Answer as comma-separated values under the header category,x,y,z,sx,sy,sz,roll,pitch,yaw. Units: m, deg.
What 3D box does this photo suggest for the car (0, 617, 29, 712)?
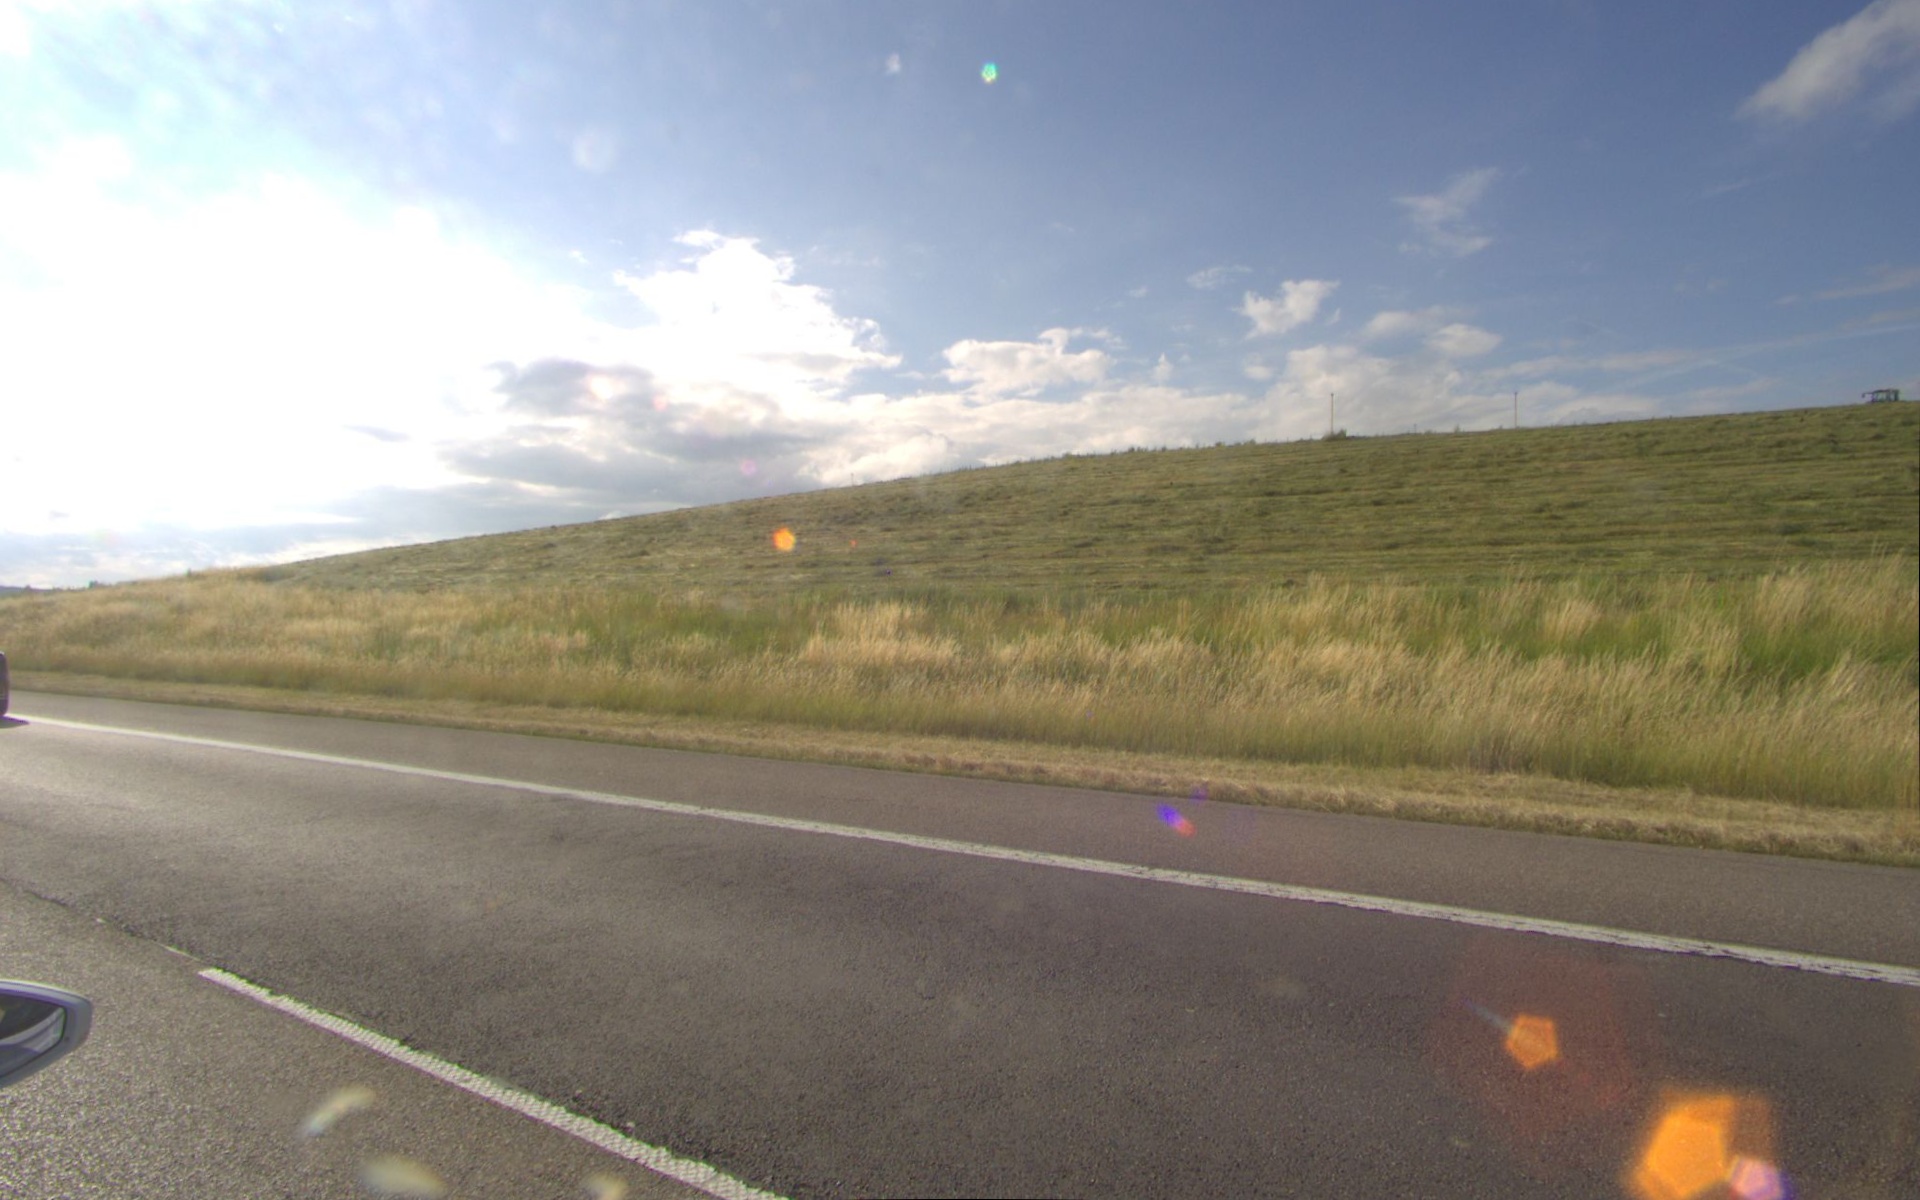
category,x,y,z,sx,sy,sz,roll,pitch,yaw
car,-18.315,1.120,17.735,4.178,1.621,1.817,-1,-3,35
